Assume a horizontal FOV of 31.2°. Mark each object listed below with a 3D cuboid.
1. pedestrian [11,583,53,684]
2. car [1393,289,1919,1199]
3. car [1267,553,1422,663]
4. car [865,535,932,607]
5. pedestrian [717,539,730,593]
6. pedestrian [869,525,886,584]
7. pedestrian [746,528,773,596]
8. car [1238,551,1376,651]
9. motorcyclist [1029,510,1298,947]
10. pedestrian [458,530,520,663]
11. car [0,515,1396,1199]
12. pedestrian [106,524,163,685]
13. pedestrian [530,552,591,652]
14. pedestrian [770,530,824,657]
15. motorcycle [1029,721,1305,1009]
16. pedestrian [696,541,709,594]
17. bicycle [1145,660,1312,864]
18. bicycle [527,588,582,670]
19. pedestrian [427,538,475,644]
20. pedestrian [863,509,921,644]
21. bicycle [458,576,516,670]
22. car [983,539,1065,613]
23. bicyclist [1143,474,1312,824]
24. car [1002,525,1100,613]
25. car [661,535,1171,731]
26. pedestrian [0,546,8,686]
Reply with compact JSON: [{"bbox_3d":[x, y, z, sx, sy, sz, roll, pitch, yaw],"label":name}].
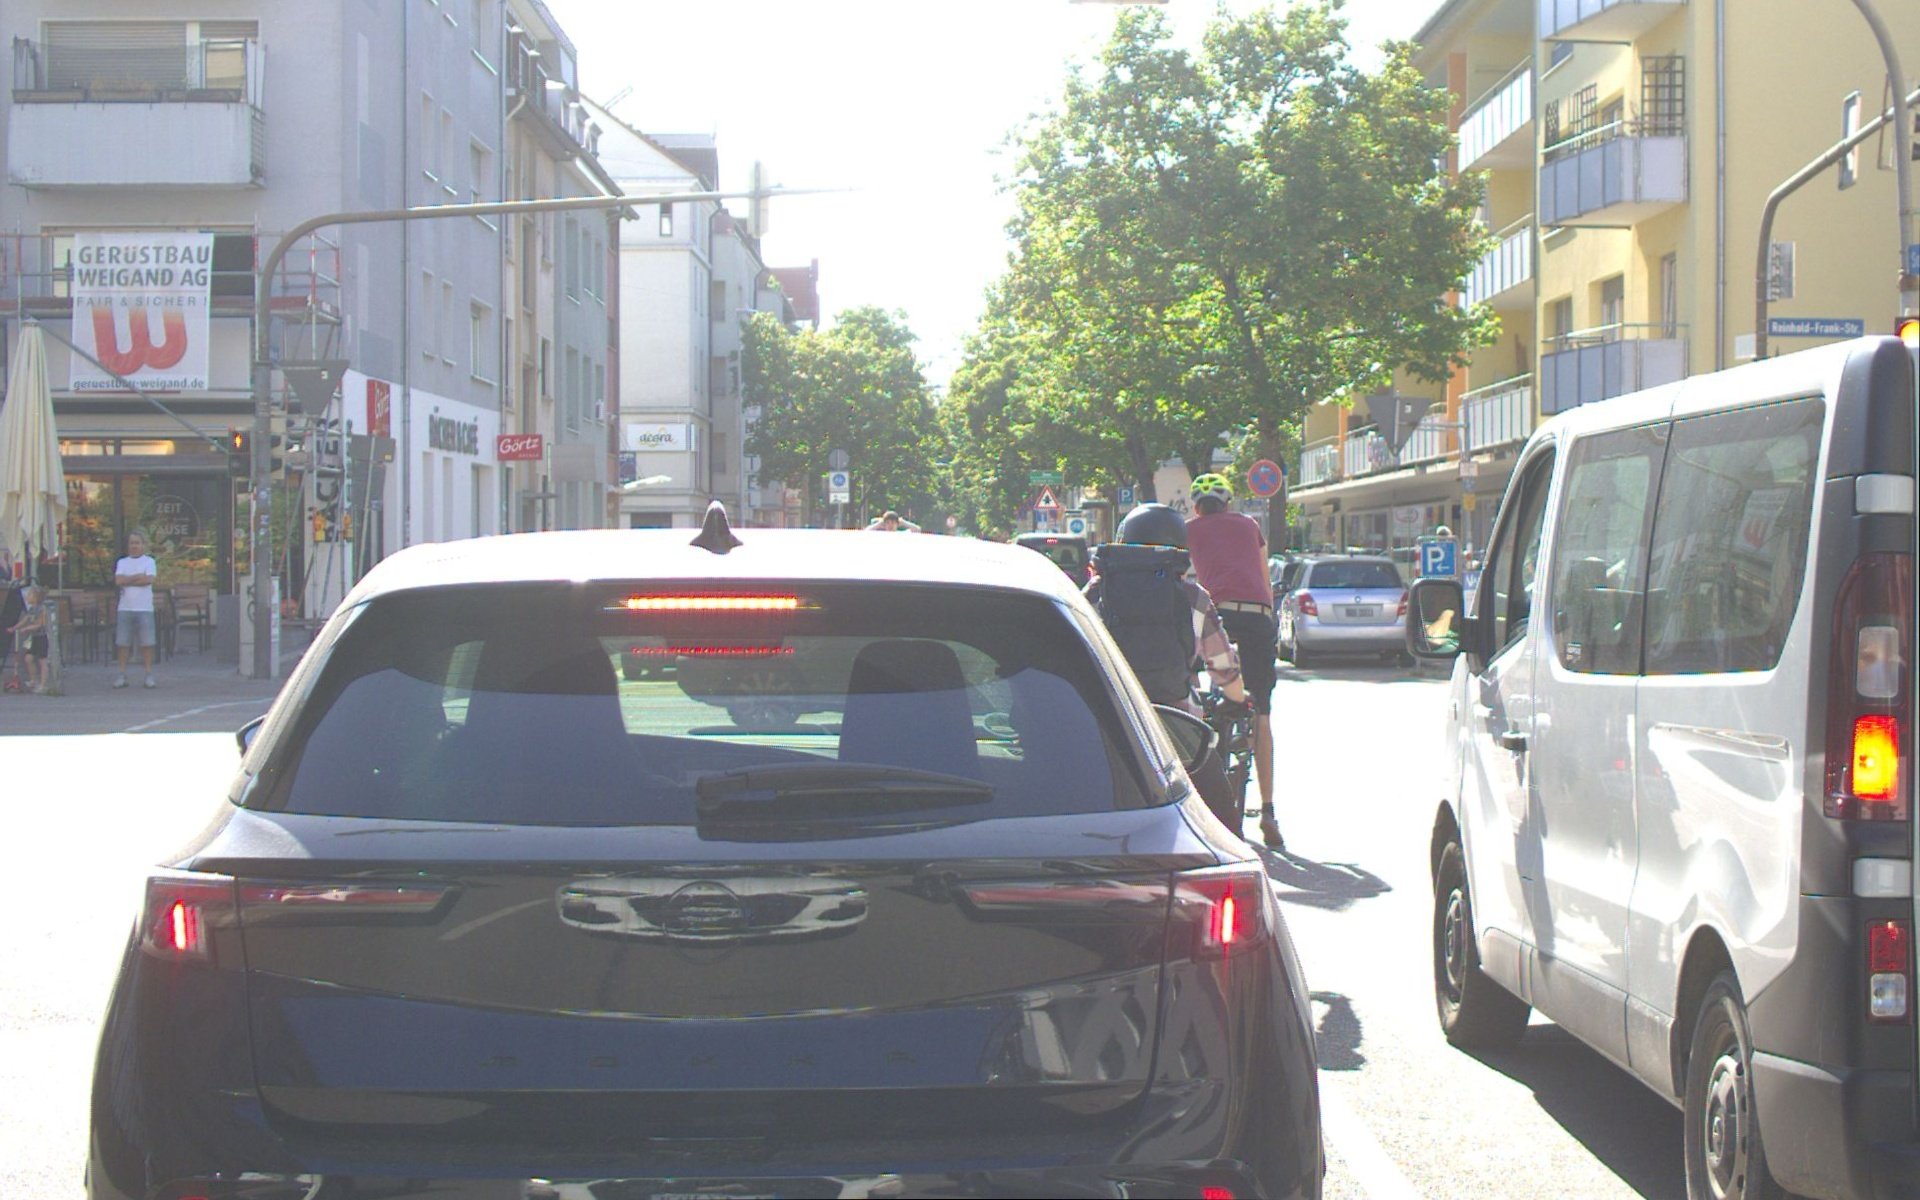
[{"bbox_3d":[-10.105,0.357,37.433,0.355,1.088,0.462,0,1,-3],"label":"pedestrian"},{"bbox_3d":[2.455,0.431,8.473,1.993,1.972,4.896,2,1,-1],"label":"car"},{"bbox_3d":[5.234,0.081,47.177,1.634,1.428,3.957,0,1,-1],"label":"car"},{"bbox_3d":[-1.740,-0.835,97.313,1.855,2.007,3.881,0,1,-1],"label":"car"},{"bbox_3d":[-7.444,-1.072,108.136,0.402,1.669,0.418,0,1,-1],"label":"pedestrian"},{"bbox_3d":[-2.378,-1.309,99.010,0.488,1.684,0.588,0,1,-1],"label":"pedestrian"},{"bbox_3d":[-5.015,-0.949,86.156,0.570,1.684,0.588,0,1,7],"label":"pedestrian"},{"bbox_3d":[5.206,-0.011,51.929,1.634,1.428,4.000,0,1,-1],"label":"car"},{"bbox_3d":[0.711,0.433,12.380,0.864,1.497,1.160,0,1,-2],"label":"motorcyclist"},{"bbox_3d":[-5.985,-0.049,43.684,0.706,1.672,0.802,0,1,-2],"label":"pedestrian"},{"bbox_3d":[-0.423,0.626,6.297,1.770,1.525,4.001,0,1,-2],"label":"car"},{"bbox_3d":[-9.142,0.050,38.095,0.561,1.769,0.584,0,1,-9],"label":"pedestrian"},{"bbox_3d":[-5.056,0.021,43.541,0.706,1.249,0.802,0,1,-2],"label":"pedestrian"},{"bbox_3d":[-2.075,-0.083,43.772,0.680,1.600,0.762,0,1,-2],"label":"pedestrian"},{"bbox_3d":[0.693,0.898,12.145,0.825,0.842,1.885,0,1,-1],"label":"motorcycle"},{"bbox_3d":[-8.127,-1.025,108.558,0.402,1.669,0.418,0,1,-1],"label":"pedestrian"},{"bbox_3d":[1.348,0.797,17.614,0.577,0.901,2.301,0,1,-2],"label":"bicycle"},{"bbox_3d":[-5.172,0.363,43.941,0.521,0.989,2.340,0,1,-2],"label":"bicycle"},{"bbox_3d":[-7.328,-0.133,49.519,0.617,1.516,0.725,0,1,-3],"label":"pedestrian"},{"bbox_3d":[-0.867,-0.302,43.575,0.706,1.695,0.802,0,1,-2],"label":"pedestrian"},{"bbox_3d":[-6.034,0.276,43.923,0.521,1.143,2.284,0,1,-2],"label":"bicycle"},{"bbox_3d":[1.528,-0.602,83.272,1.902,1.722,4.000,0,1,0],"label":"car"},{"bbox_3d":[1.344,0.230,17.500,0.689,1.707,1.414,0,1,-2],"label":"bicyclist"},{"bbox_3d":[1.803,-0.638,69.159,1.902,1.722,4.073,0,1,1],"label":"car"},{"bbox_3d":[-0.352,0.247,27.942,3.987,1.481,1.833,-1,1,0],"label":"car"},{"bbox_3d":[-10.747,0.173,37.476,0.584,1.516,0.650,0,1,-3],"label":"pedestrian"}]
